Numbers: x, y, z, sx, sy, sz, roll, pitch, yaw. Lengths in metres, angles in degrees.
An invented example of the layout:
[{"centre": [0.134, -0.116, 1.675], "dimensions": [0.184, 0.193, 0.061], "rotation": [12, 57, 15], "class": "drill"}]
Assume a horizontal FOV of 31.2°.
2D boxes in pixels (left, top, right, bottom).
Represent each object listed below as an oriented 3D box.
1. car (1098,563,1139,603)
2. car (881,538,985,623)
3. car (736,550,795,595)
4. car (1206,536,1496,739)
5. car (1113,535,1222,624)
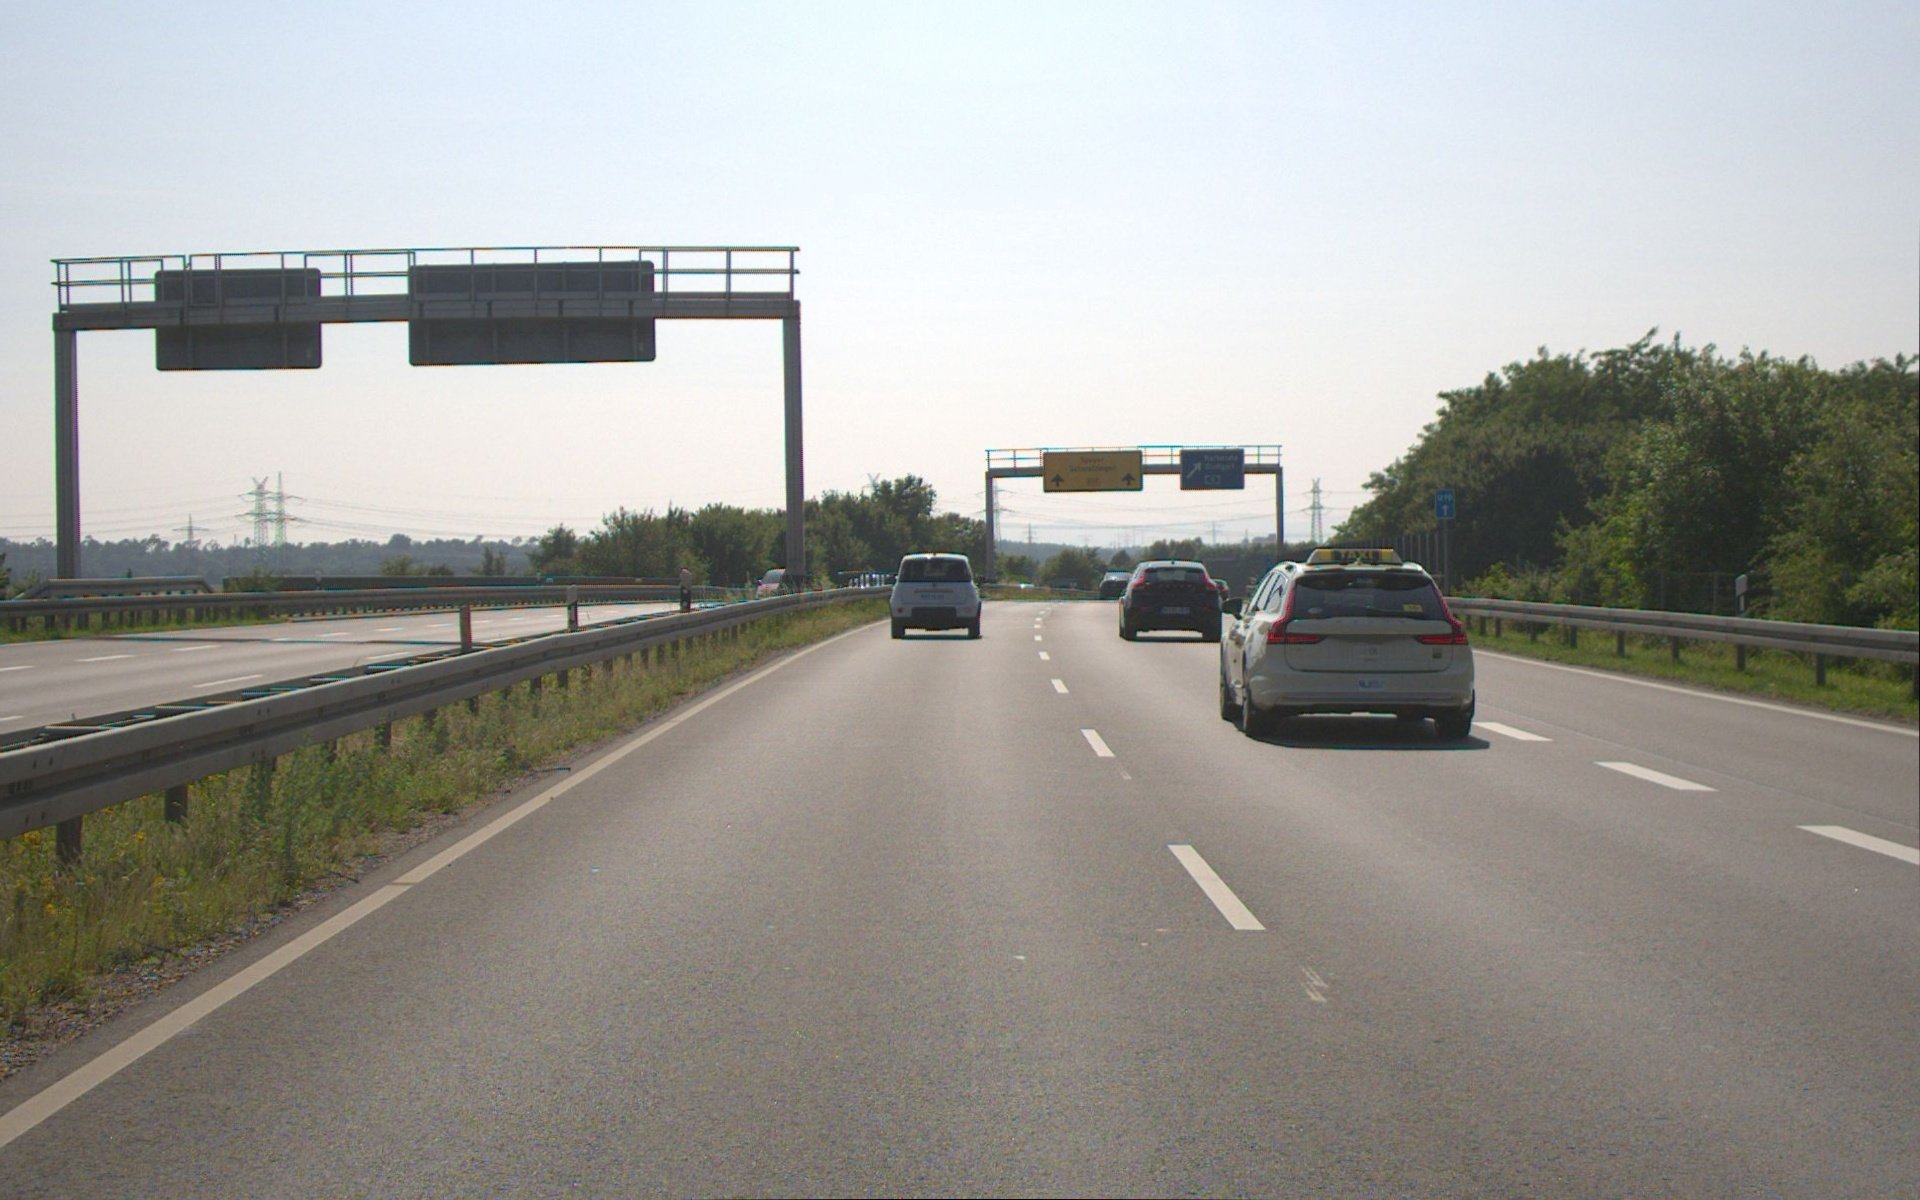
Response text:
[{"centre": [8.194, -0.887, 177.949], "dimensions": [1.993, 2.007, 4.000], "rotation": [1, 1, 1], "class": "car"}, {"centre": [-0.469, -0.344, 63.921], "dimensions": [1.793, 1.498, 4.043], "rotation": [-1, 0, 1], "class": "car"}, {"centre": [-6.562, -0.937, 116.134], "dimensions": [1.710, 1.481, 4.266], "rotation": [1, 1, 0], "class": "car"}, {"centre": [3.272, 0.272, 29.509], "dimensions": [1.958, 1.596, 4.107], "rotation": [1, 1, -1], "class": "car"}, {"centre": [3.733, -0.358, 62.425], "dimensions": [1.793, 1.538, 3.671], "rotation": [1, 0, 1], "class": "car"}]
